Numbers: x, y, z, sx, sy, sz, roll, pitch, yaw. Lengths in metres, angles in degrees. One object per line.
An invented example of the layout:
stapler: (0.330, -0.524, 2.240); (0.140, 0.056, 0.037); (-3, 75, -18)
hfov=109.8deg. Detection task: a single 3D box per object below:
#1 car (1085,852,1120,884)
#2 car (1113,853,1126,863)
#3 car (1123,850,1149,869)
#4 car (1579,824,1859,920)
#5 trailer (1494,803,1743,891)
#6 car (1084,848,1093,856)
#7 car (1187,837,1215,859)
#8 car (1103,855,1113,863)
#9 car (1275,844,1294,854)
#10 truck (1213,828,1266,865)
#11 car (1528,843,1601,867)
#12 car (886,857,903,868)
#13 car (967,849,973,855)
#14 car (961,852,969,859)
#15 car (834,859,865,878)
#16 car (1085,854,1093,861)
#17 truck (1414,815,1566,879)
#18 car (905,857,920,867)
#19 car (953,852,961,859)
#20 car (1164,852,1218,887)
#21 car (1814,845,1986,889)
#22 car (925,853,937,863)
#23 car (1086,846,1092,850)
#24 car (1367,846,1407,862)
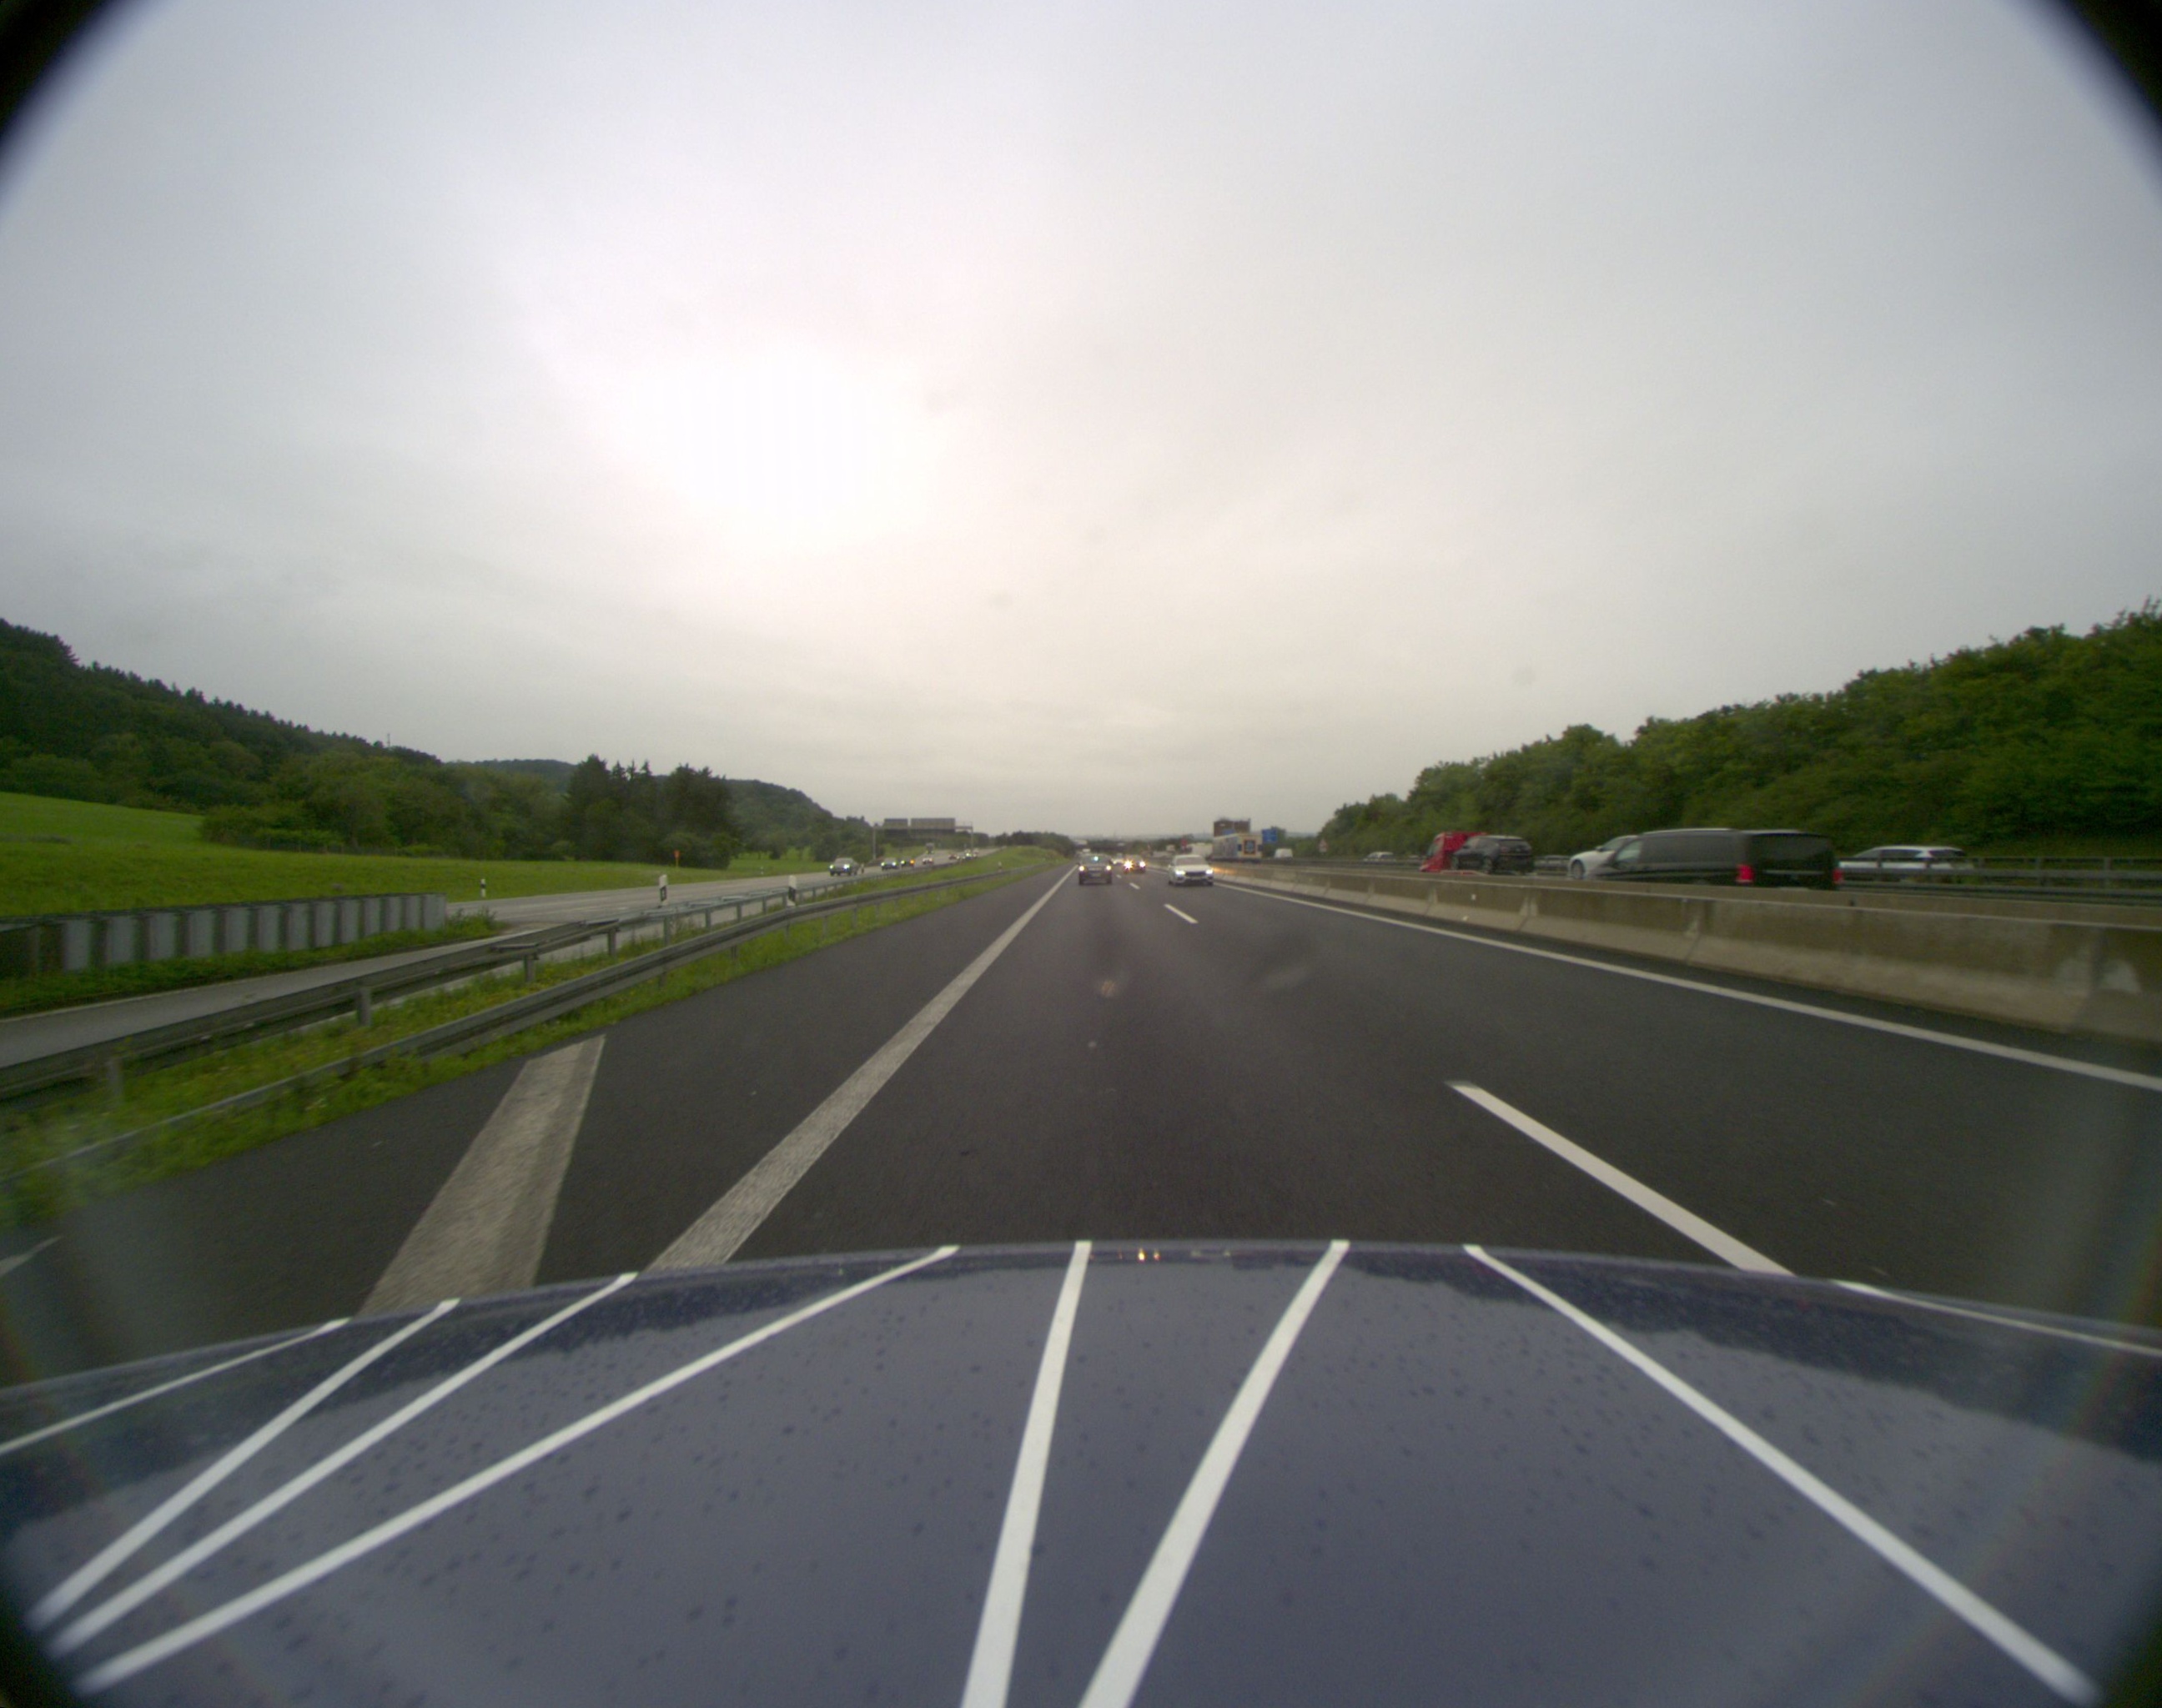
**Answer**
car: (1.194, 0.739, 41.884); (1.812, 1.571, 3.835); (-2, 1, 2)
car: (5.944, 0.635, 117.616); (1.726, 1.481, 4.566); (-2, 1, -1)
car: (4.602, 0.411, 64.325); (1.726, 1.481, 4.566); (-2, 1, -1)
car: (13.111, 0.297, 16.128); (1.875, 1.672, 4.776); (-2, 1, -1)
trailer: (16.994, -0.227, 24.946); (2.582, 2.327, 7.946); (-2, 1, 1)
car: (1.865, -0.456, 186.108); (2.016, 1.994, 4.566); (-2, 1, -1)
car: (13.753, -0.699, 87.436); (2.135, 2.309, 5.691); (-2, 1, -1)
car: (5.447, 0.965, 152.818); (1.726, 1.481, 4.566); (-2, 1, -1)
car: (34.056, -0.861, 127.146); (1.823, 1.448, 4.776); (-2, 1, -1)
truck: (18.459, -0.860, 89.668); (2.934, 3.855, 16.088); (-2, 1, 1)
car: (32.848, 0.038, 51.791); (1.823, 1.448, 4.776); (-2, 1, -1)
car: (-24.149, 1.067, 98.464); (1.672, 1.375, 4.122); (-2, 1, -9)
car: (-36.628, -0.709, 250.927); (1.915, 1.684, 4.715); (-2, 1, -7)
car: (-28.789, 0.323, 188.832); (1.915, 1.684, 4.715); (-2, 1, -7)
car: (-21.825, 1.309, 71.729); (1.775, 1.600, 4.640); (-2, 1, -5)
car: (1.868, 0.903, 180.787); (1.919, 1.481, 4.566); (-2, 1, -1)
truck: (17.091, -0.315, 32.441); (2.582, 2.327, 7.341); (-2, 1, 1)
car: (-25.638, 1.154, 115.664); (1.868, 1.349, 4.563); (-2, 1, -8)
car: (-33.561, 0.323, 205.123); (1.915, 1.684, 4.715); (-2, 1, -7)
car: (5.248, 0.697, 36.930); (1.823, 1.448, 4.776); (-2, 1, -1)
car: (32.342, 0.449, 30.259); (1.663, 1.572, 4.776); (-2, 1, -1)
car: (-29.451, 0.752, 149.200); (1.915, 1.684, 4.715); (-2, 1, -6)
car: (2.749, -2.086, 262.712); (1.726, 1.481, 4.566); (-2, 1, -1)
car: (28.895, -0.016, 71.999); (1.770, 1.403, 4.776); (-2, 1, -1)
